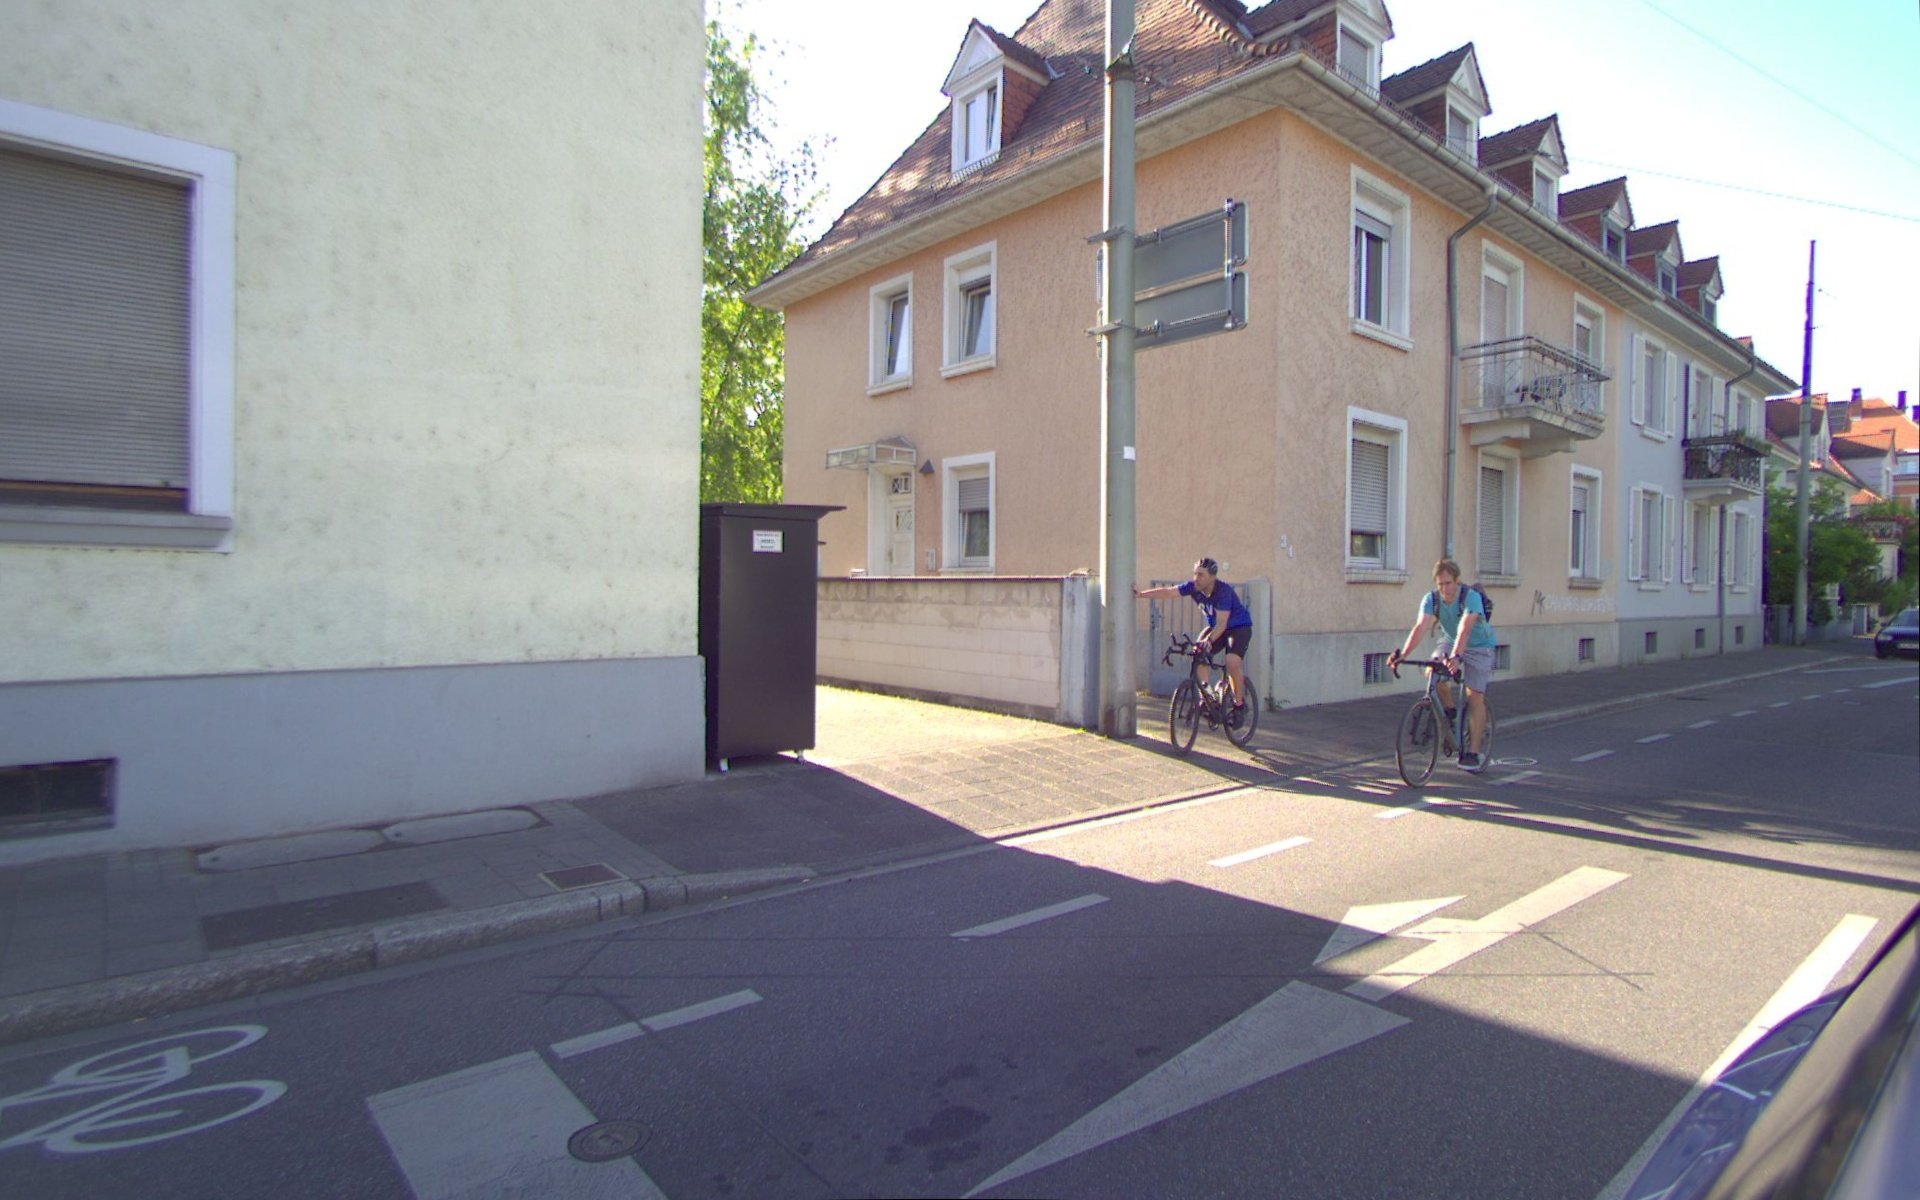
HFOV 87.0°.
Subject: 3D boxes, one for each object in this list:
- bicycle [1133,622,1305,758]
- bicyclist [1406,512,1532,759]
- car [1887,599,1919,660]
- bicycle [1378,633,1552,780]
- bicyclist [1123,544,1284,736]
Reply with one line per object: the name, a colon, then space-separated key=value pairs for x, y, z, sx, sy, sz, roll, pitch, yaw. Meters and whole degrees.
bicycle: x=2.440 y=0.785 z=9.435 sx=1.744 sy=1.081 sz=0.592 roll=0 pitch=5 yaw=-41
bicyclist: x=4.292 y=0.299 z=8.521 sx=0.927 sy=1.959 sz=0.520 roll=4 pitch=-2 yaw=-36
car: x=26.695 y=0.753 z=27.370 sx=3.742 sy=1.601 sz=1.696 roll=0 pitch=-1 yaw=-36
bicycle: x=4.275 y=0.859 z=8.514 sx=1.761 sy=1.105 sz=0.520 roll=3 pitch=-1 yaw=-36
bicyclist: x=2.284 y=0.336 z=9.548 sx=0.870 sy=1.627 sz=1.052 roll=1 pitch=5 yaw=-41
